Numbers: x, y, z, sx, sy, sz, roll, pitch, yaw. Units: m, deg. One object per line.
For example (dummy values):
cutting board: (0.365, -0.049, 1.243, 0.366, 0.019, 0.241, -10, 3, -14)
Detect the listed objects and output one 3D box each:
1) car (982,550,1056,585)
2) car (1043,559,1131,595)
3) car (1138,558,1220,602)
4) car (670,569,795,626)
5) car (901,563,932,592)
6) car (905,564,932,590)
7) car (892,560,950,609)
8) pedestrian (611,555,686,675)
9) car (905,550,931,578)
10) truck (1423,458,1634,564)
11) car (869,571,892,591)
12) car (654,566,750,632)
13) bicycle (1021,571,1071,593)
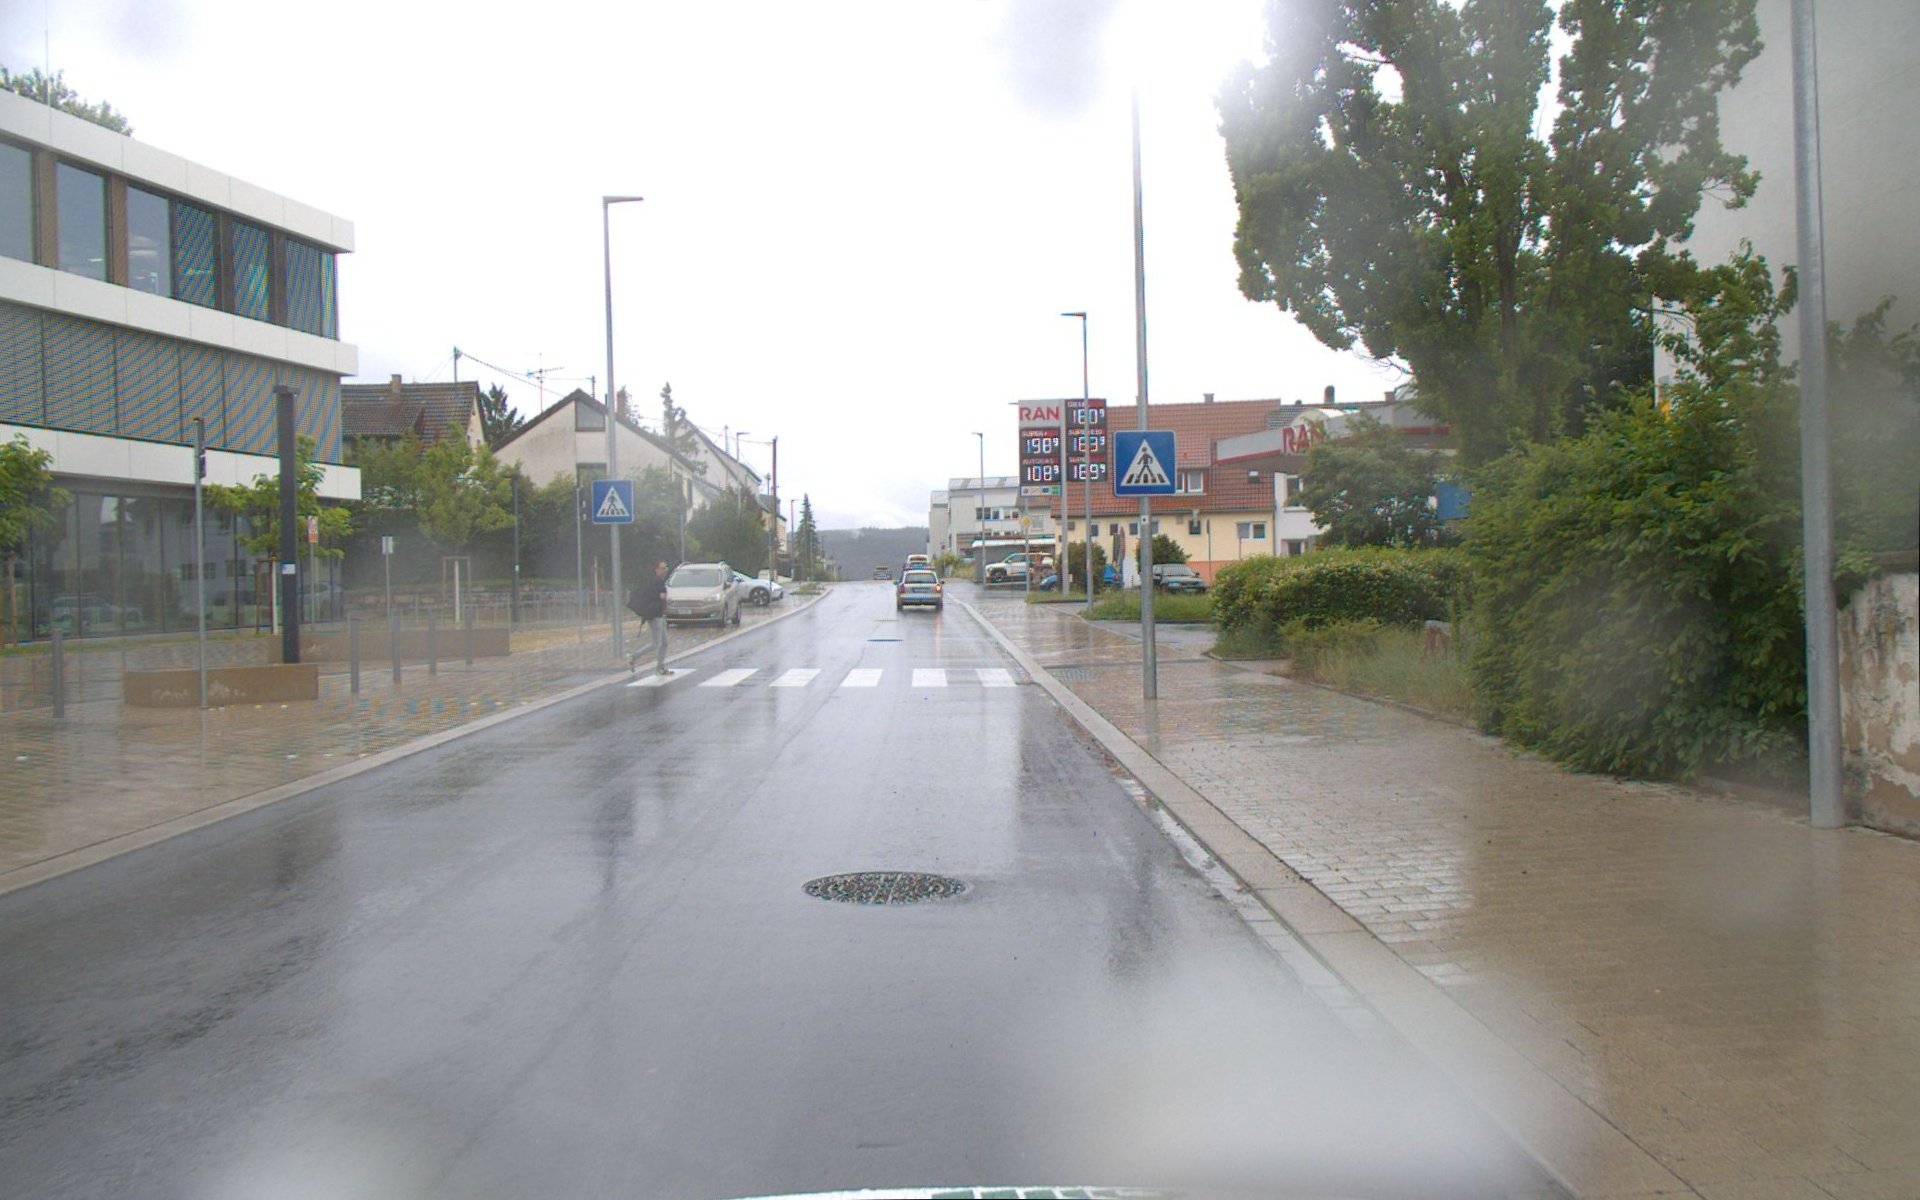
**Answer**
car: (3.339, -1.819, 94.158, 4.032, 1.736, 1.787, 3, -1, -5)
car: (6.196, -1.119, 80.520, 3.903, 1.519, 1.859, 2, -1, 16)
car: (8.745, -0.778, 66.324, 1.959, 1.579, 3.987, 3, -1, -13)
car: (-9.161, -0.098, 66.876, 4.654, 2.049, 2.000, 2, -1, 2)
car: (-2.867, -1.468, 109.760, 1.953, 1.736, 3.998, 2, -1, -1)
car: (-3.076, -1.679, 123.175, 1.953, 1.736, 3.998, 2, -1, -1)
car: (-1.453, -0.539, 60.587, 1.910, 1.583, 3.996, 3, -1, -4)
pedestrian: (-4.650, 0.214, 24.750, 0.993, 1.754, 0.772, -1, 1, -4)
car: (-2.954, -2.514, 116.508, 1.747, 1.736, 3.998, 2, -1, -1)
truck: (22.161, -3.409, 64.475, 7.597, 3.504, 2.668, 3, -1, -17)
car: (-7.938, -1.886, 165.600, 2.110, 1.736, 3.998, 2, -1, -1)
car: (-6.844, -0.065, 44.265, 1.953, 1.657, 4.152, -1, 1, -1)
bicycle: (4.520, -0.939, 87.541, 0.662, 1.085, 3.588, 3, -1, -32)
